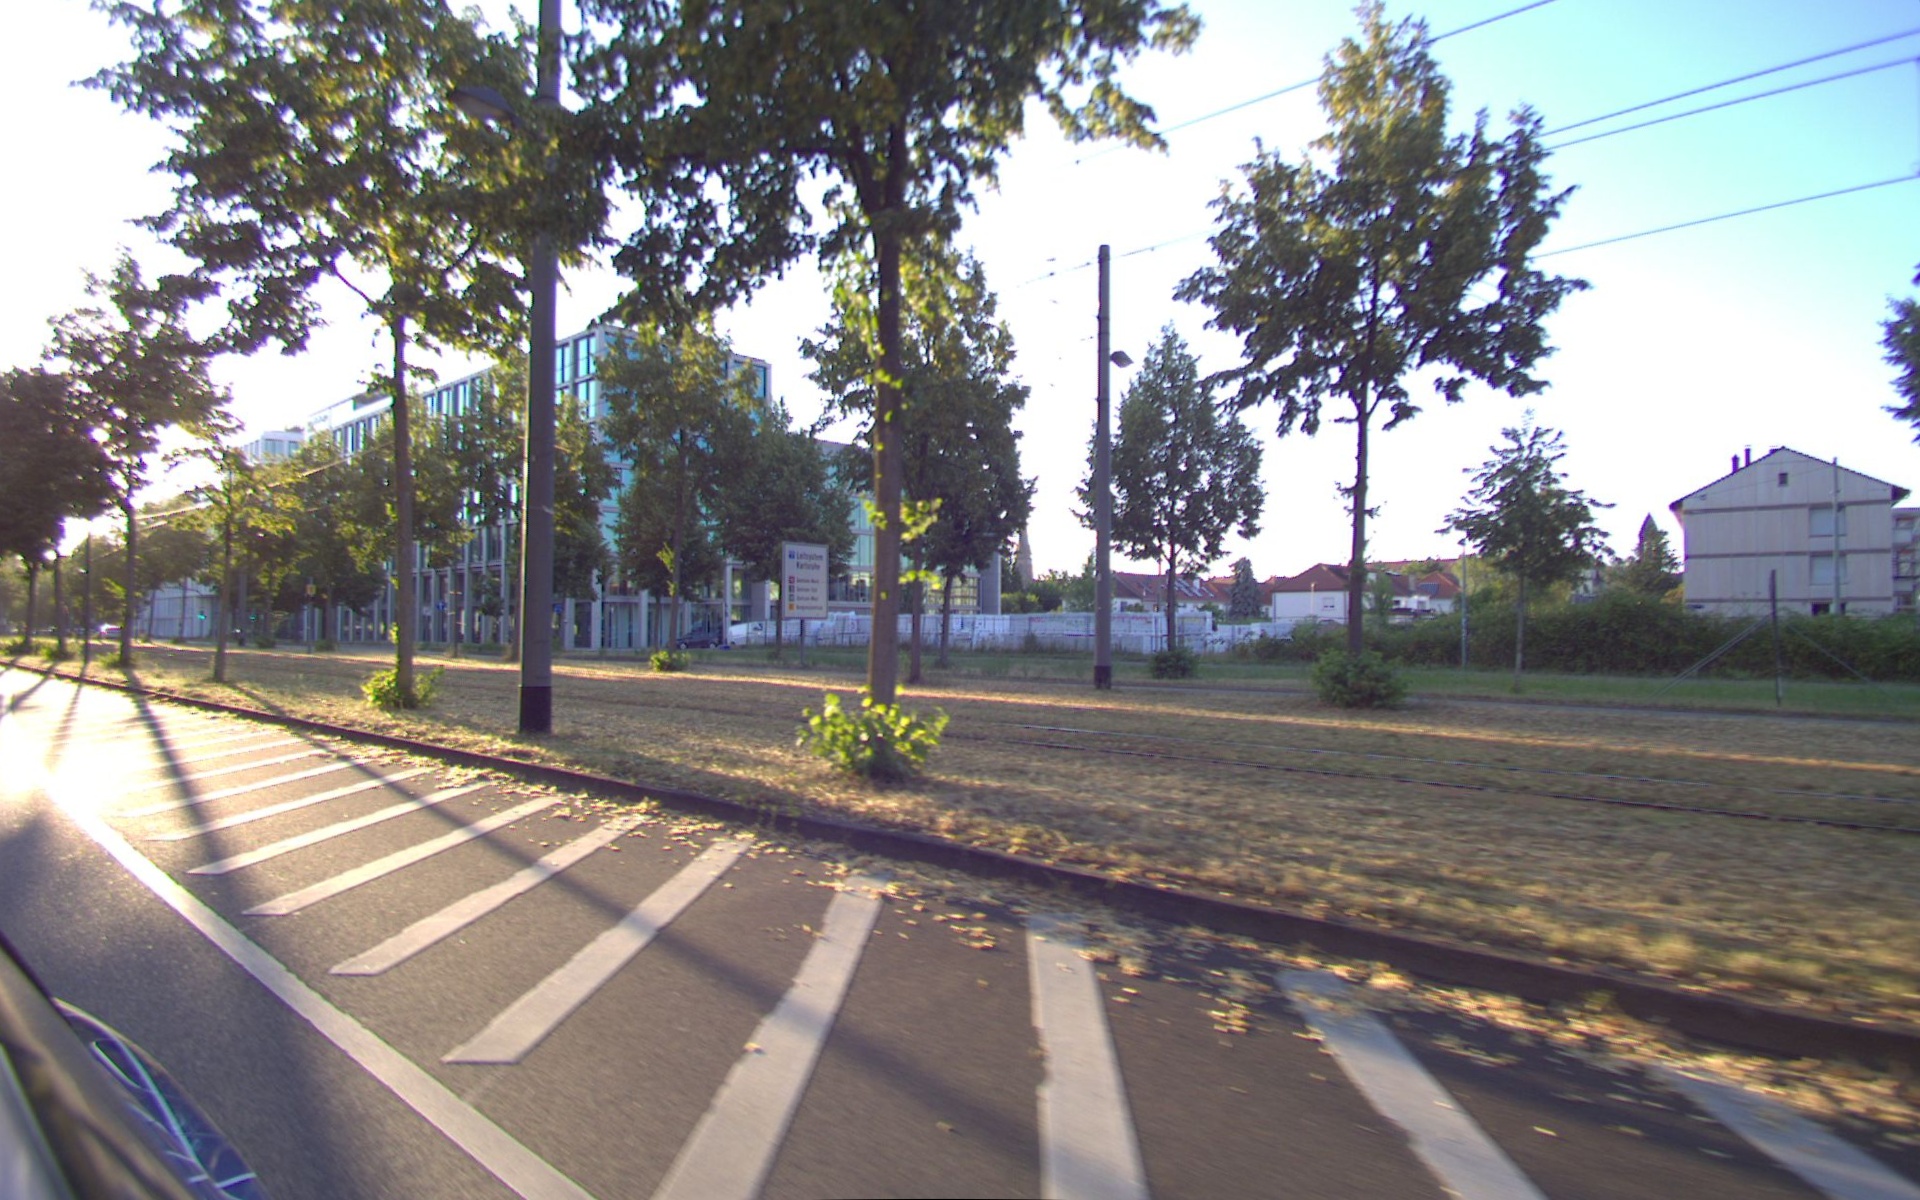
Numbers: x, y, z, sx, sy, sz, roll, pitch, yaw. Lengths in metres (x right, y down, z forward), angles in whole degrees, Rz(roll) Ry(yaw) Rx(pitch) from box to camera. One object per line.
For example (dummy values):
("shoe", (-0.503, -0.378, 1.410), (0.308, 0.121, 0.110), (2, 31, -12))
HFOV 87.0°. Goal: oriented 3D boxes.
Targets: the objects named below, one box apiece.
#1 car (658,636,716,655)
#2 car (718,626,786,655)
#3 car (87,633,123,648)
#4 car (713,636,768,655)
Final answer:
("car", (-21.308, 3.534, 79.123), (1.895, 1.457, 3.942), (-2, -3, 44))
("car", (-14.870, 2.893, 72.277), (5.082, 2.029, 2.183), (-2, -3, 41))
("car", (-83.785, 3.976, 99.116), (4.626, 1.497, 1.883), (-2, -3, 39))
("car", (-17.879, 3.687, 82.513), (1.895, 1.457, 3.941), (-2, -3, 45))
